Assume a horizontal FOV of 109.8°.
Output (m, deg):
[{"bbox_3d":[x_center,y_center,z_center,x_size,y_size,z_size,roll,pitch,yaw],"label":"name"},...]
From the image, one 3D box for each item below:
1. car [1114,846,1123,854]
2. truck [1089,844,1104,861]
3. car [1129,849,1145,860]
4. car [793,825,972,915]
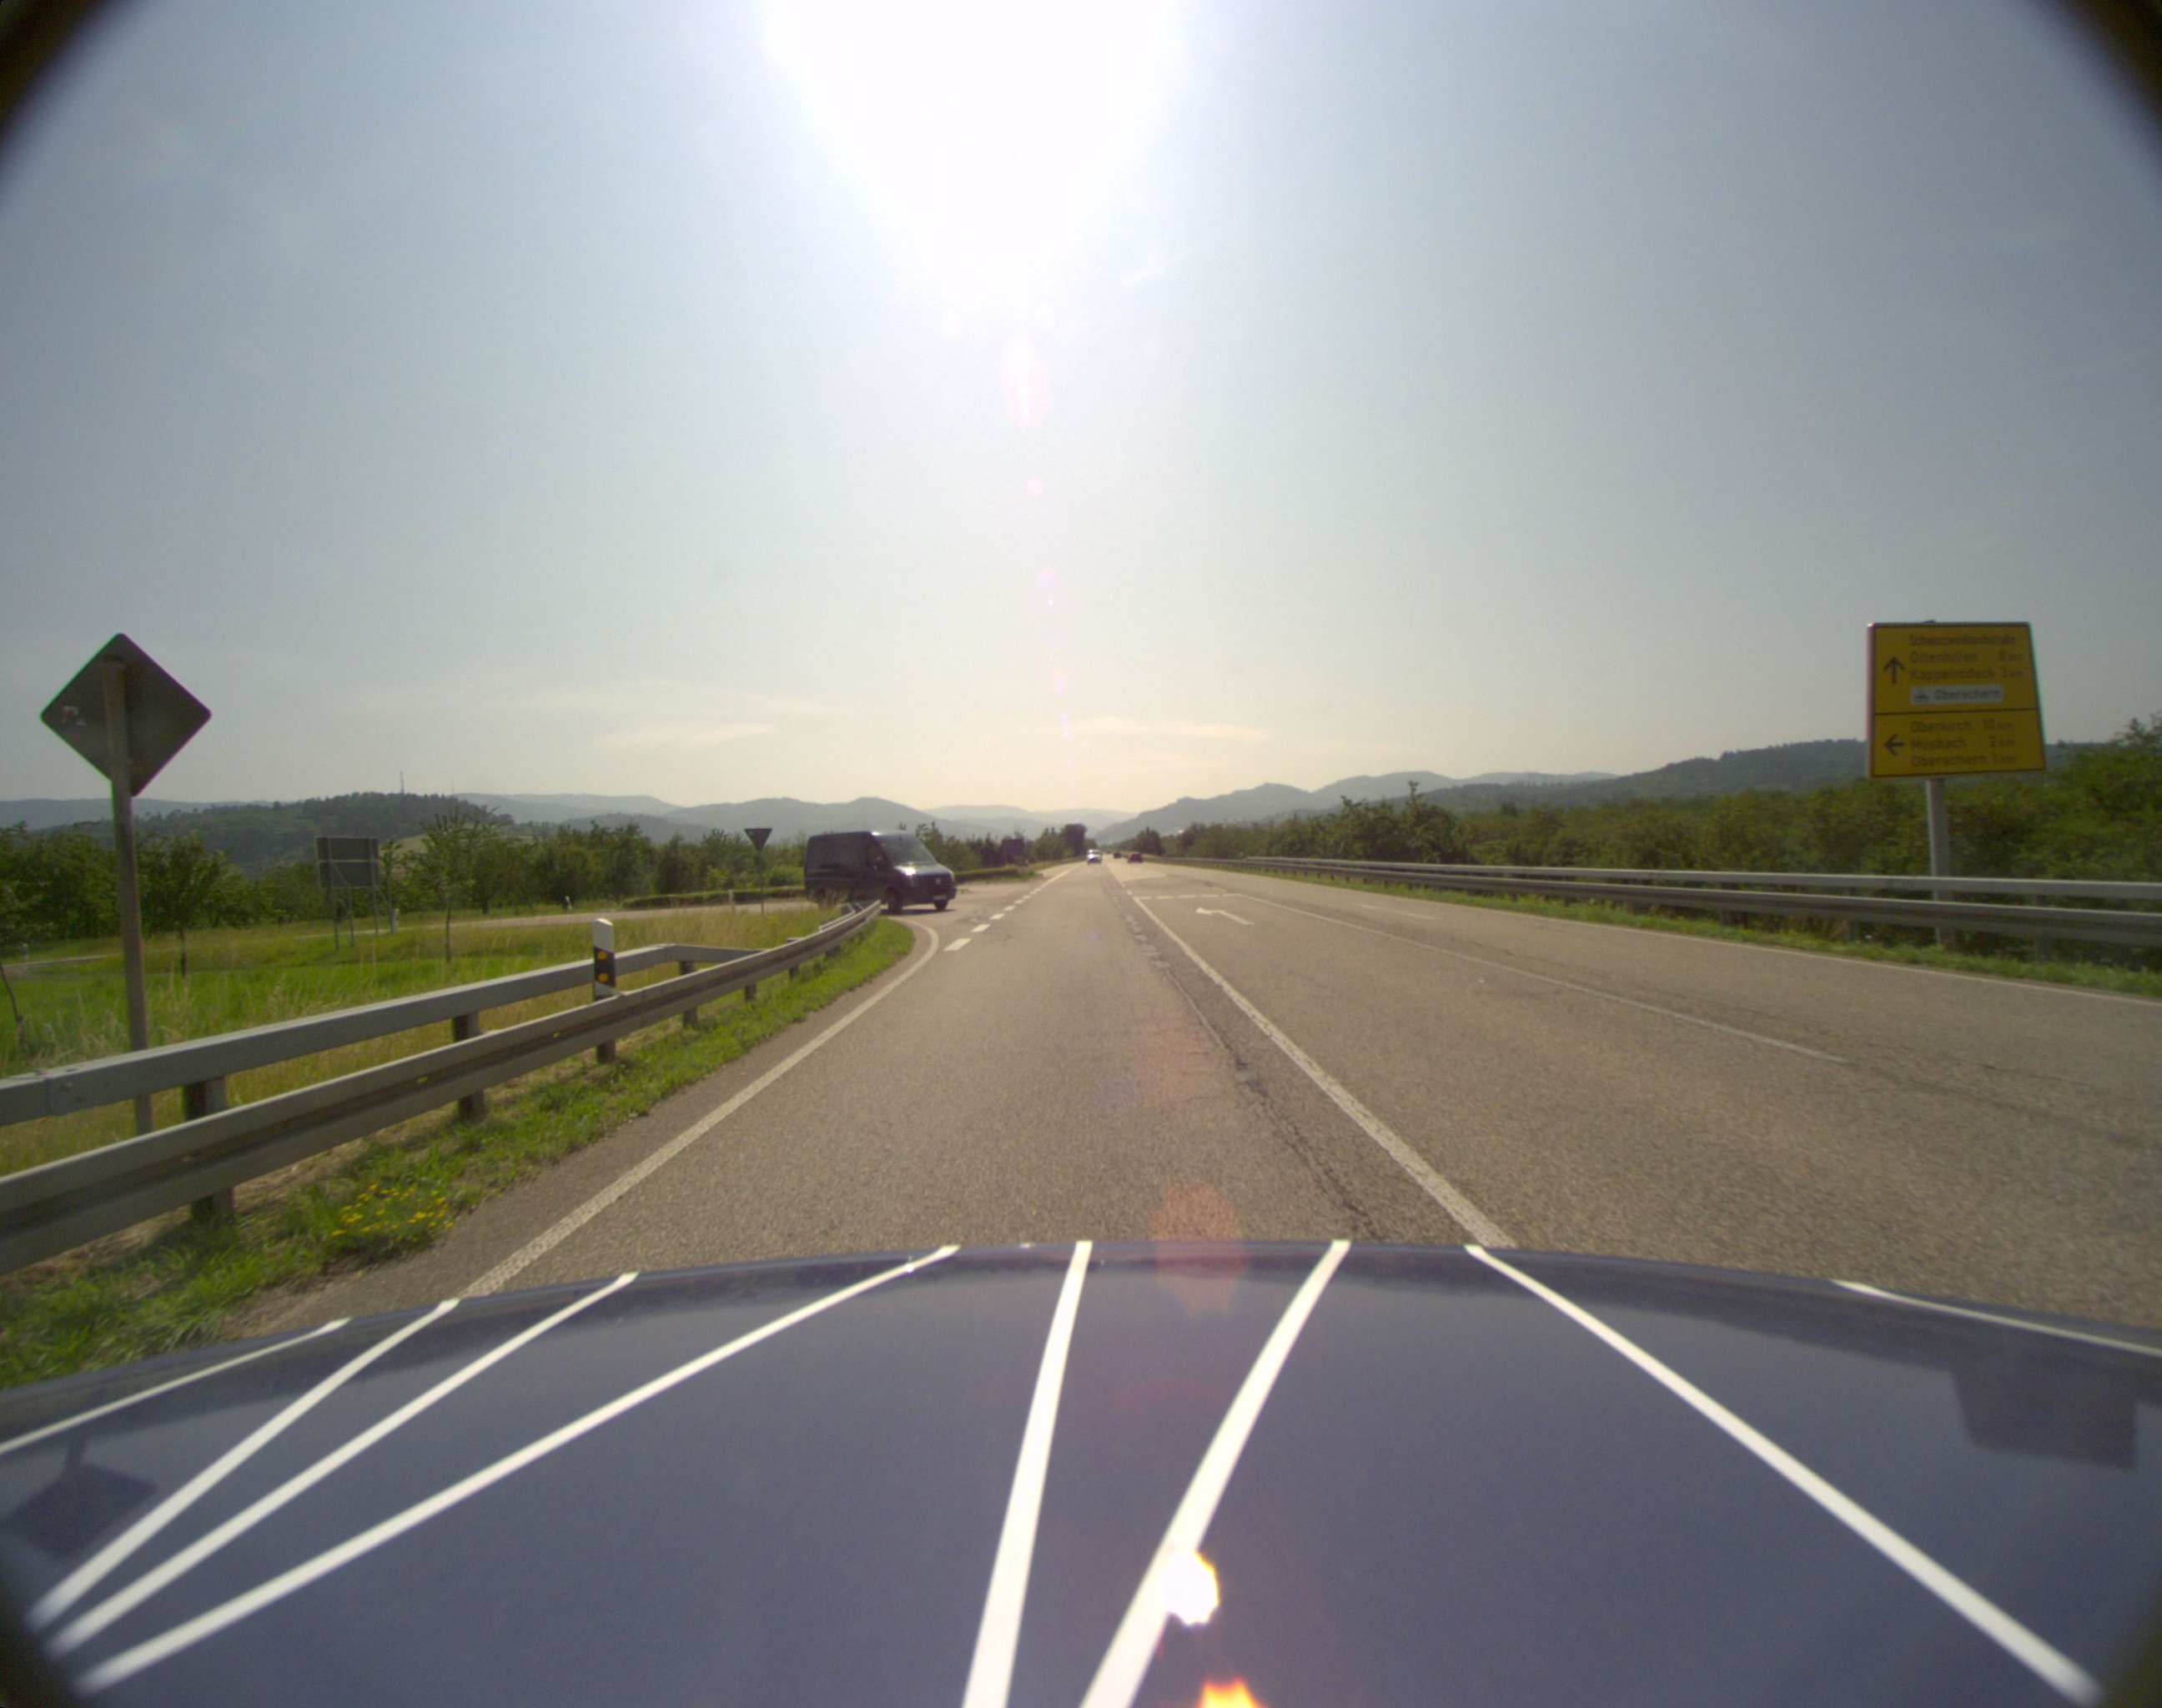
[{"bbox_3d":[8.780,-0.888,176.745,1.808,1.628,4.808,-2,1,0],"label":"car"},{"bbox_3d":[2.141,-0.177,105.923,2.032,2.233,4.764,-2,1,1],"label":"truck"},{"bbox_3d":[7.595,0.070,103.934,1.820,1.441,4.494,-2,1,0],"label":"car"},{"bbox_3d":[-6.506,0.555,24.329,6.296,2.560,2.066,-3,1,39],"label":"car"}]
